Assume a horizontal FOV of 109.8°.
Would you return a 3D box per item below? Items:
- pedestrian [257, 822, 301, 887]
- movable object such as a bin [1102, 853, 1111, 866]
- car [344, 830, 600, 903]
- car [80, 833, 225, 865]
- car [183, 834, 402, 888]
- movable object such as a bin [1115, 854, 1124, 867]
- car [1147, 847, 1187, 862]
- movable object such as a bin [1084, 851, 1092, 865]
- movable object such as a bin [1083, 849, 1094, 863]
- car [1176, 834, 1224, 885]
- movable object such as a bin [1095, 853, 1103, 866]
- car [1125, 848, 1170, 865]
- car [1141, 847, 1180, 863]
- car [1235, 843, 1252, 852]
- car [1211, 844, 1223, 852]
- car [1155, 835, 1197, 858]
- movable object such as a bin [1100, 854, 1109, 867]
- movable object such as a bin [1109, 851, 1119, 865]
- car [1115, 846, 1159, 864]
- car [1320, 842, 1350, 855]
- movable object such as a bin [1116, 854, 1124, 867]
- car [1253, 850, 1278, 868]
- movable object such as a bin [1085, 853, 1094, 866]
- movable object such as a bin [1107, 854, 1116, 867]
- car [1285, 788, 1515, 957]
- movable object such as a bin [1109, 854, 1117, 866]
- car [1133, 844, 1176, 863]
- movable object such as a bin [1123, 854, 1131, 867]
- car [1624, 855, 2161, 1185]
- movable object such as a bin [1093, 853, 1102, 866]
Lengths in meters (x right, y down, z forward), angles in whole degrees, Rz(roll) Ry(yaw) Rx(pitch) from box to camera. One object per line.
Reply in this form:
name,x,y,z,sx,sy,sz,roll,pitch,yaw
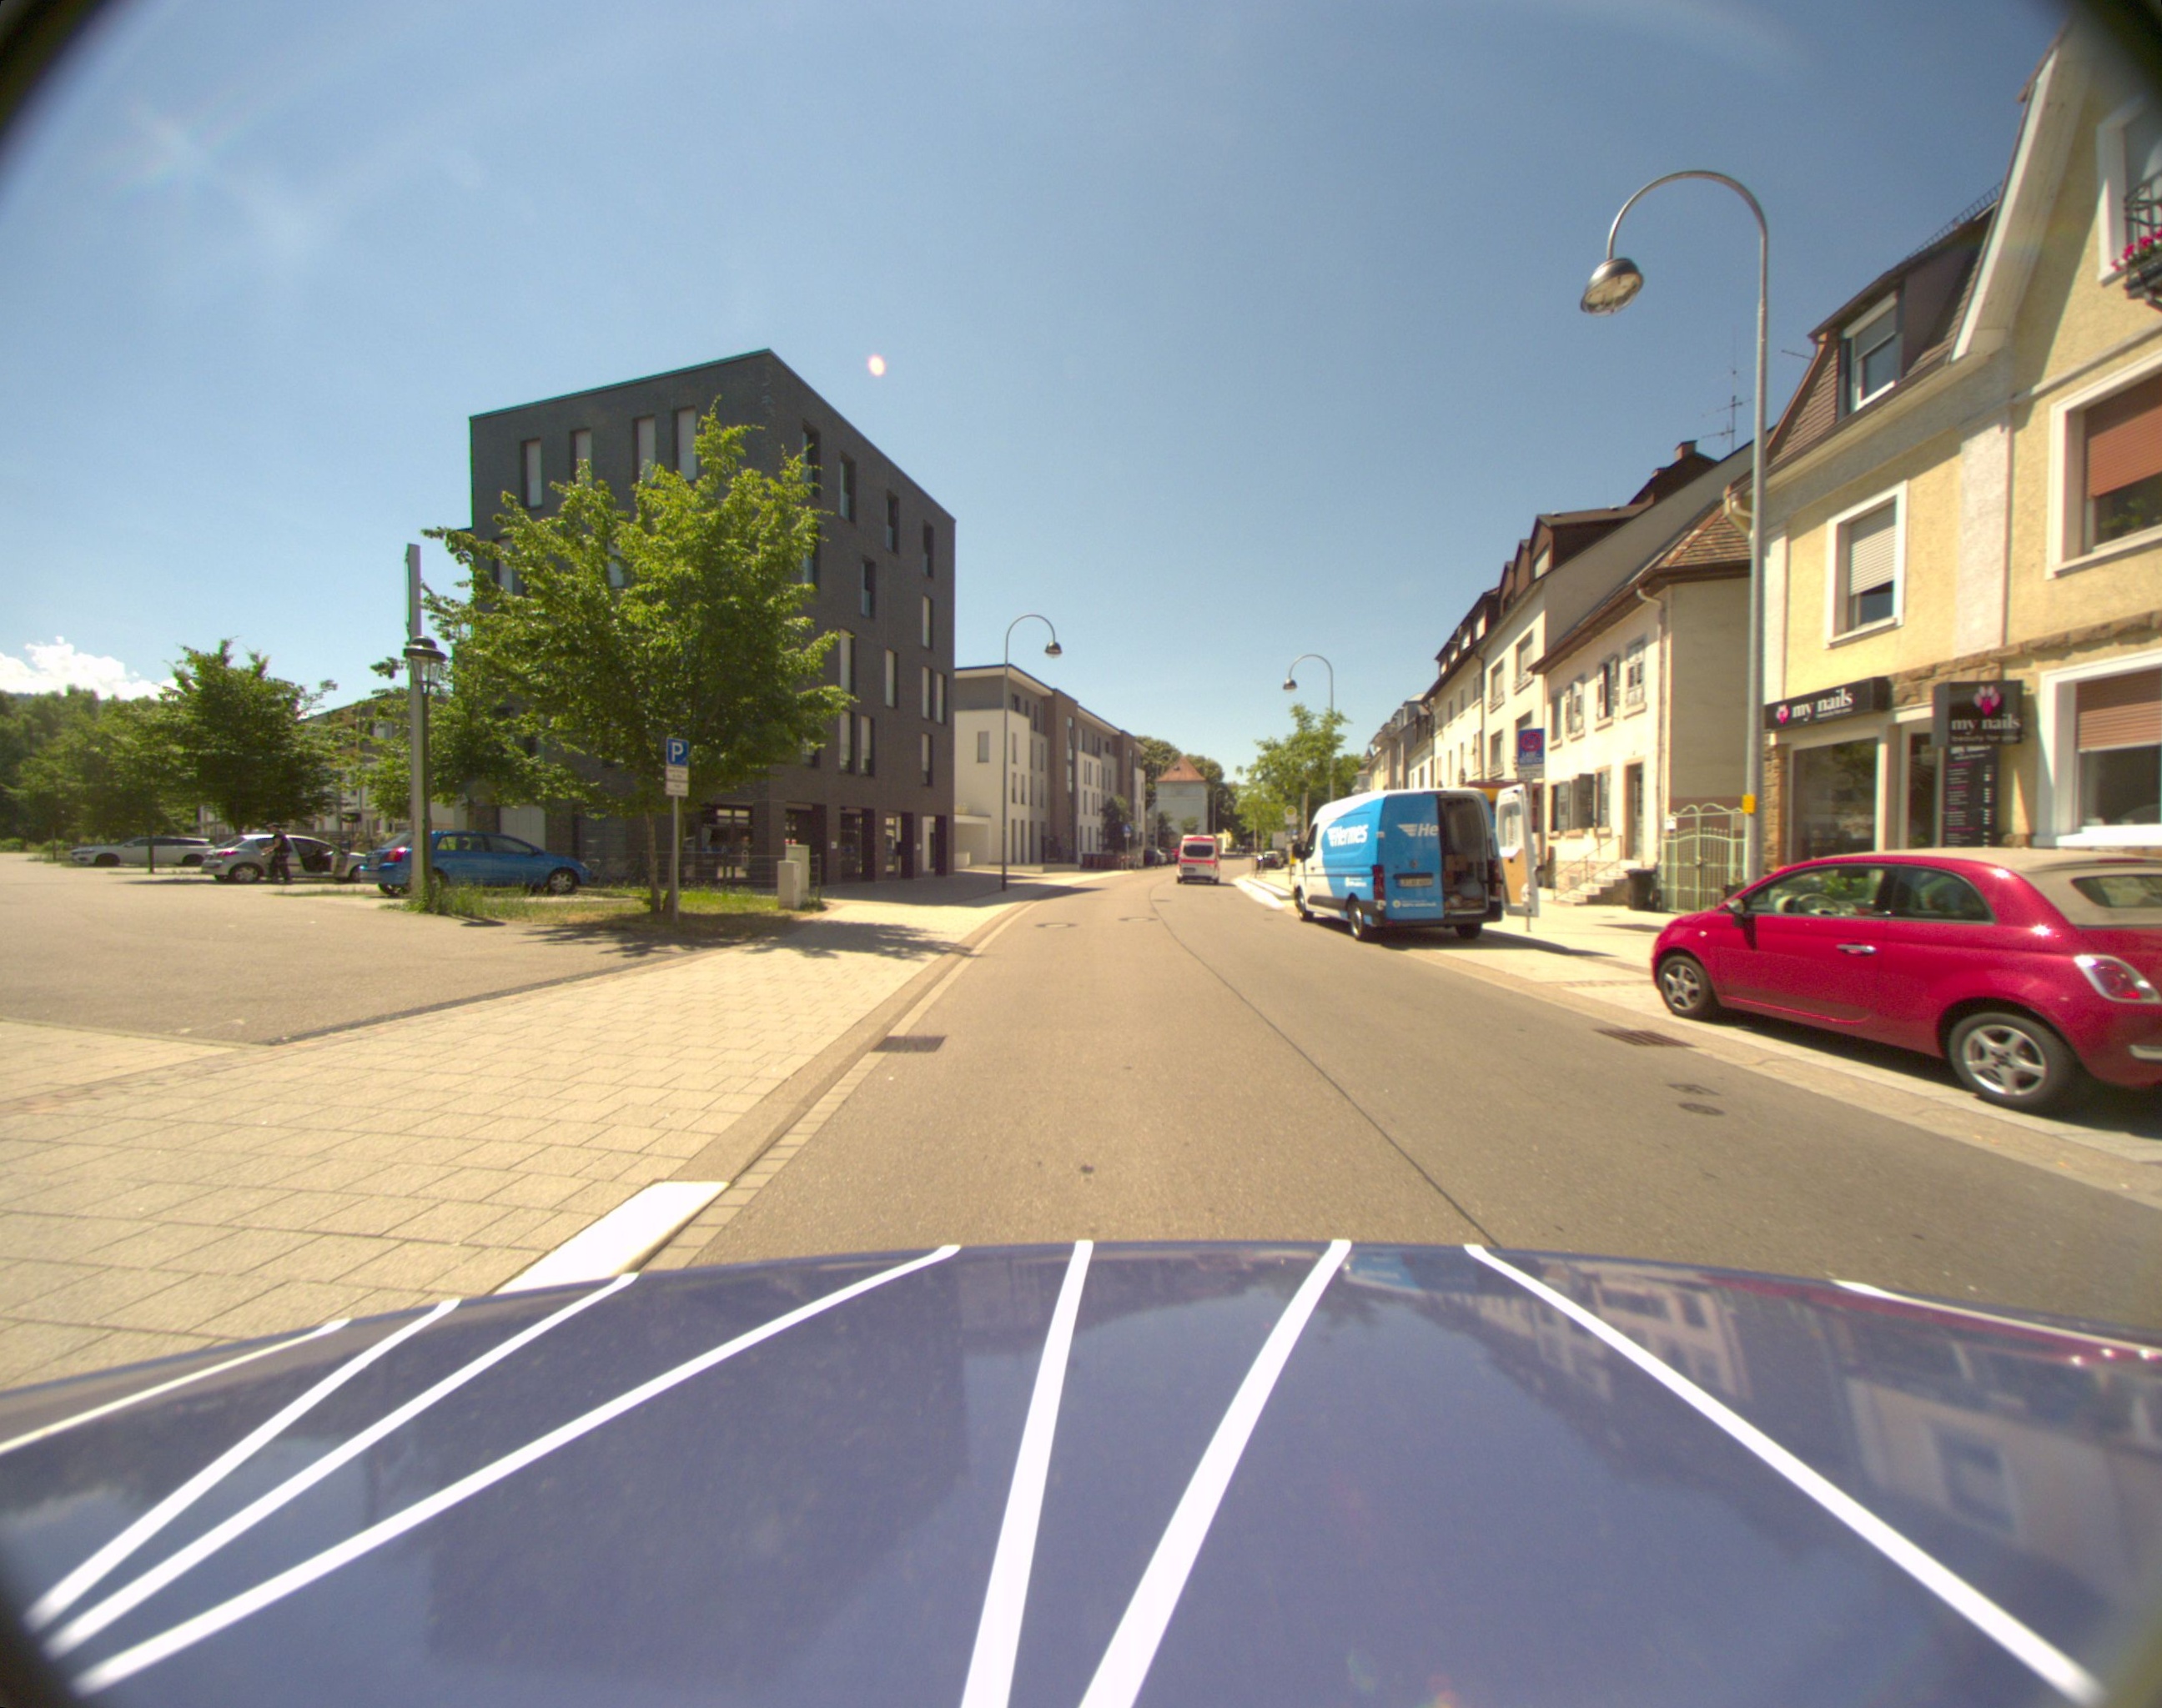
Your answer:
pedestrian,-22.476,0.011,21.296,0.634,1.780,0.700,2,1,27
movable object such as a bin,1.881,0.419,56.148,0.465,0.925,0.523,2,2,17
car,-13.707,0.256,17.393,1.812,1.433,4.181,2,1,30
car,-45.205,-0.215,37.122,1.812,1.433,4.181,2,1,26
car,-23.276,0.198,22.617,1.812,1.433,4.181,2,1,30
movable object such as a bin,2.786,0.473,55.279,0.473,0.925,0.529,2,2,17
car,8.774,0.075,77.750,3.813,1.454,1.654,1,1,16
movable object such as a bin,0.513,0.268,57.652,0.570,1.036,0.560,2,2,3
movable object such as a bin,0.608,0.181,58.730,0.646,1.054,0.626,3,2,18
car,5.940,0.239,38.054,2.160,2.348,5.251,2,1,9
movable object such as a bin,1.314,0.398,56.305,0.465,0.925,0.523,2,2,17
car,6.185,0.172,70.418,3.813,1.474,1.780,1,1,15
car,7.906,0.073,75.631,3.612,1.454,1.618,2,2,16
car,27.611,-1.116,128.968,1.621,1.445,3.860,2,2,-7
car,26.227,-1.201,147.028,1.685,1.475,4.086,1,0,1
car,11.554,-0.929,92.307,4.860,2.720,1.853,1,2,17
movable object such as a bin,1.724,0.444,55.581,0.473,0.925,0.529,2,2,17
movable object such as a bin,2.537,0.309,58.312,0.569,1.054,0.561,3,2,18
car,5.052,0.111,68.244,3.660,1.437,1.537,3,2,19
car,37.507,-0.809,112.015,4.072,1.729,1.817,1,1,22
movable object such as a bin,2.886,0.461,55.854,0.467,0.925,0.529,2,2,17
car,16.840,0.456,69.279,1.682,1.475,3.774,-2,0,22
movable object such as a bin,0.606,0.420,55.934,0.473,0.925,0.529,2,2,17
movable object such as a bin,2.228,0.455,55.431,0.473,0.925,0.529,2,2,17
car,5.503,0.250,14.115,2.097,2.484,5.503,-2,1,2
movable object such as a bin,2.379,0.440,56.003,0.465,0.925,0.523,2,2,17
car,7.112,-0.058,73.013,3.813,1.776,1.842,1,1,15
movable object such as a bin,3.374,0.476,55.704,0.473,0.925,0.529,2,2,17
car,5.980,0.816,5.473,1.564,1.512,3.514,-1,2,-1
movable object such as a bin,1.227,0.434,55.722,0.473,0.925,0.529,2,2,17
